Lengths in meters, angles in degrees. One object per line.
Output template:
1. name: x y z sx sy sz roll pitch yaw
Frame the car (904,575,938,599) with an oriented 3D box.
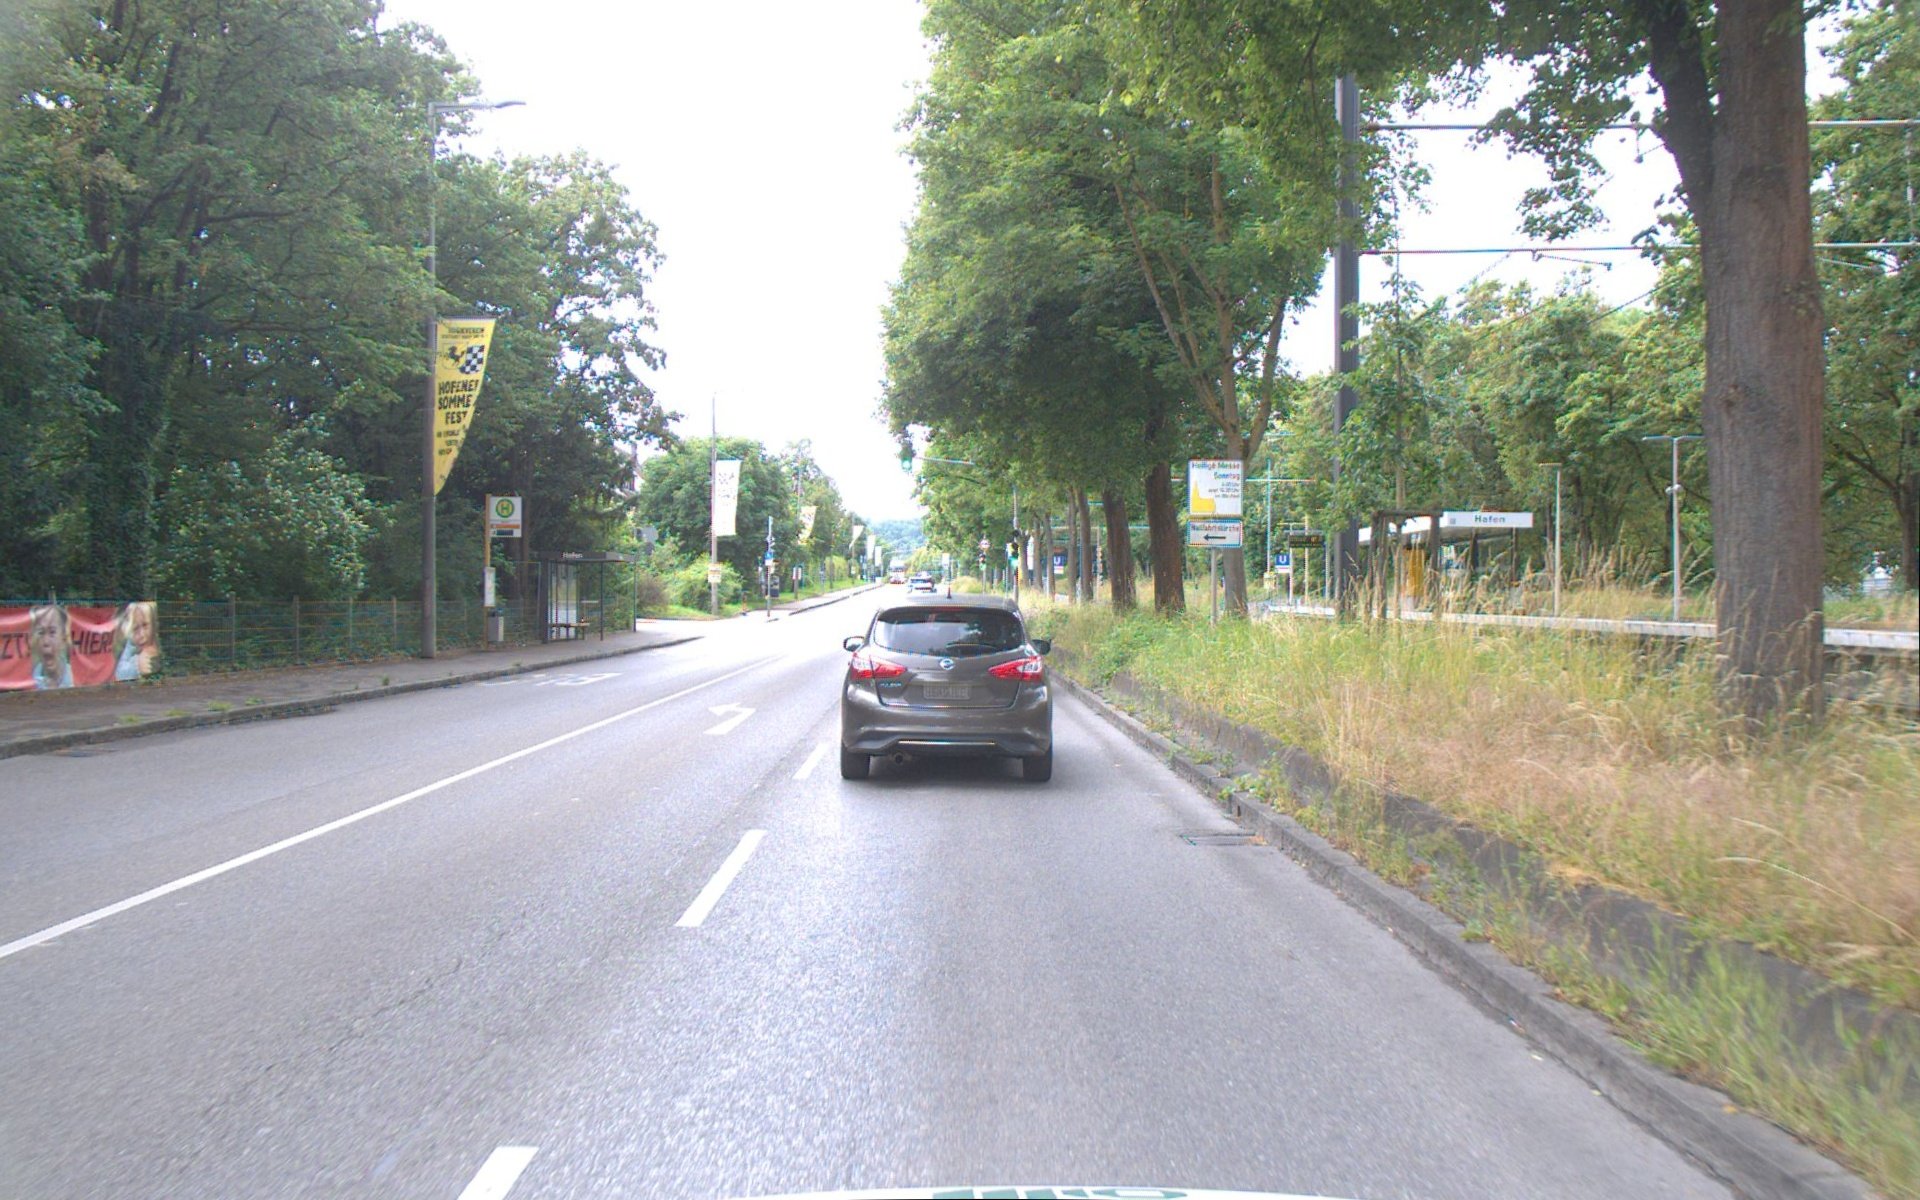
1. car: -2.362 -0.791 100.561 1.953 1.344 3.999 2 0 -1

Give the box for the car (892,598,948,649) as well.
1. car: -1.224 0.692 50.886 1.657 1.466 3.541 1 0 -1

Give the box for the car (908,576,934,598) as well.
1. car: -3.086 -1.020 130.032 1.953 1.601 3.999 2 0 -1

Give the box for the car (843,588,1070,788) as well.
1. car: -0.045 0.681 14.623 1.747 1.533 3.695 0 0 -1

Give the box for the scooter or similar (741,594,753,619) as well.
1. scooter or similar: -11.253 0.341 87.477 0.453 1.281 1.426 1 0 0

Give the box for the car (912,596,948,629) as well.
1. car: -1.433 0.571 78.085 1.657 1.466 3.541 1 0 -1

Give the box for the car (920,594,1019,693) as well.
1. car: 0.111 0.646 26.713 1.471 1.466 3.541 1 0 -1
